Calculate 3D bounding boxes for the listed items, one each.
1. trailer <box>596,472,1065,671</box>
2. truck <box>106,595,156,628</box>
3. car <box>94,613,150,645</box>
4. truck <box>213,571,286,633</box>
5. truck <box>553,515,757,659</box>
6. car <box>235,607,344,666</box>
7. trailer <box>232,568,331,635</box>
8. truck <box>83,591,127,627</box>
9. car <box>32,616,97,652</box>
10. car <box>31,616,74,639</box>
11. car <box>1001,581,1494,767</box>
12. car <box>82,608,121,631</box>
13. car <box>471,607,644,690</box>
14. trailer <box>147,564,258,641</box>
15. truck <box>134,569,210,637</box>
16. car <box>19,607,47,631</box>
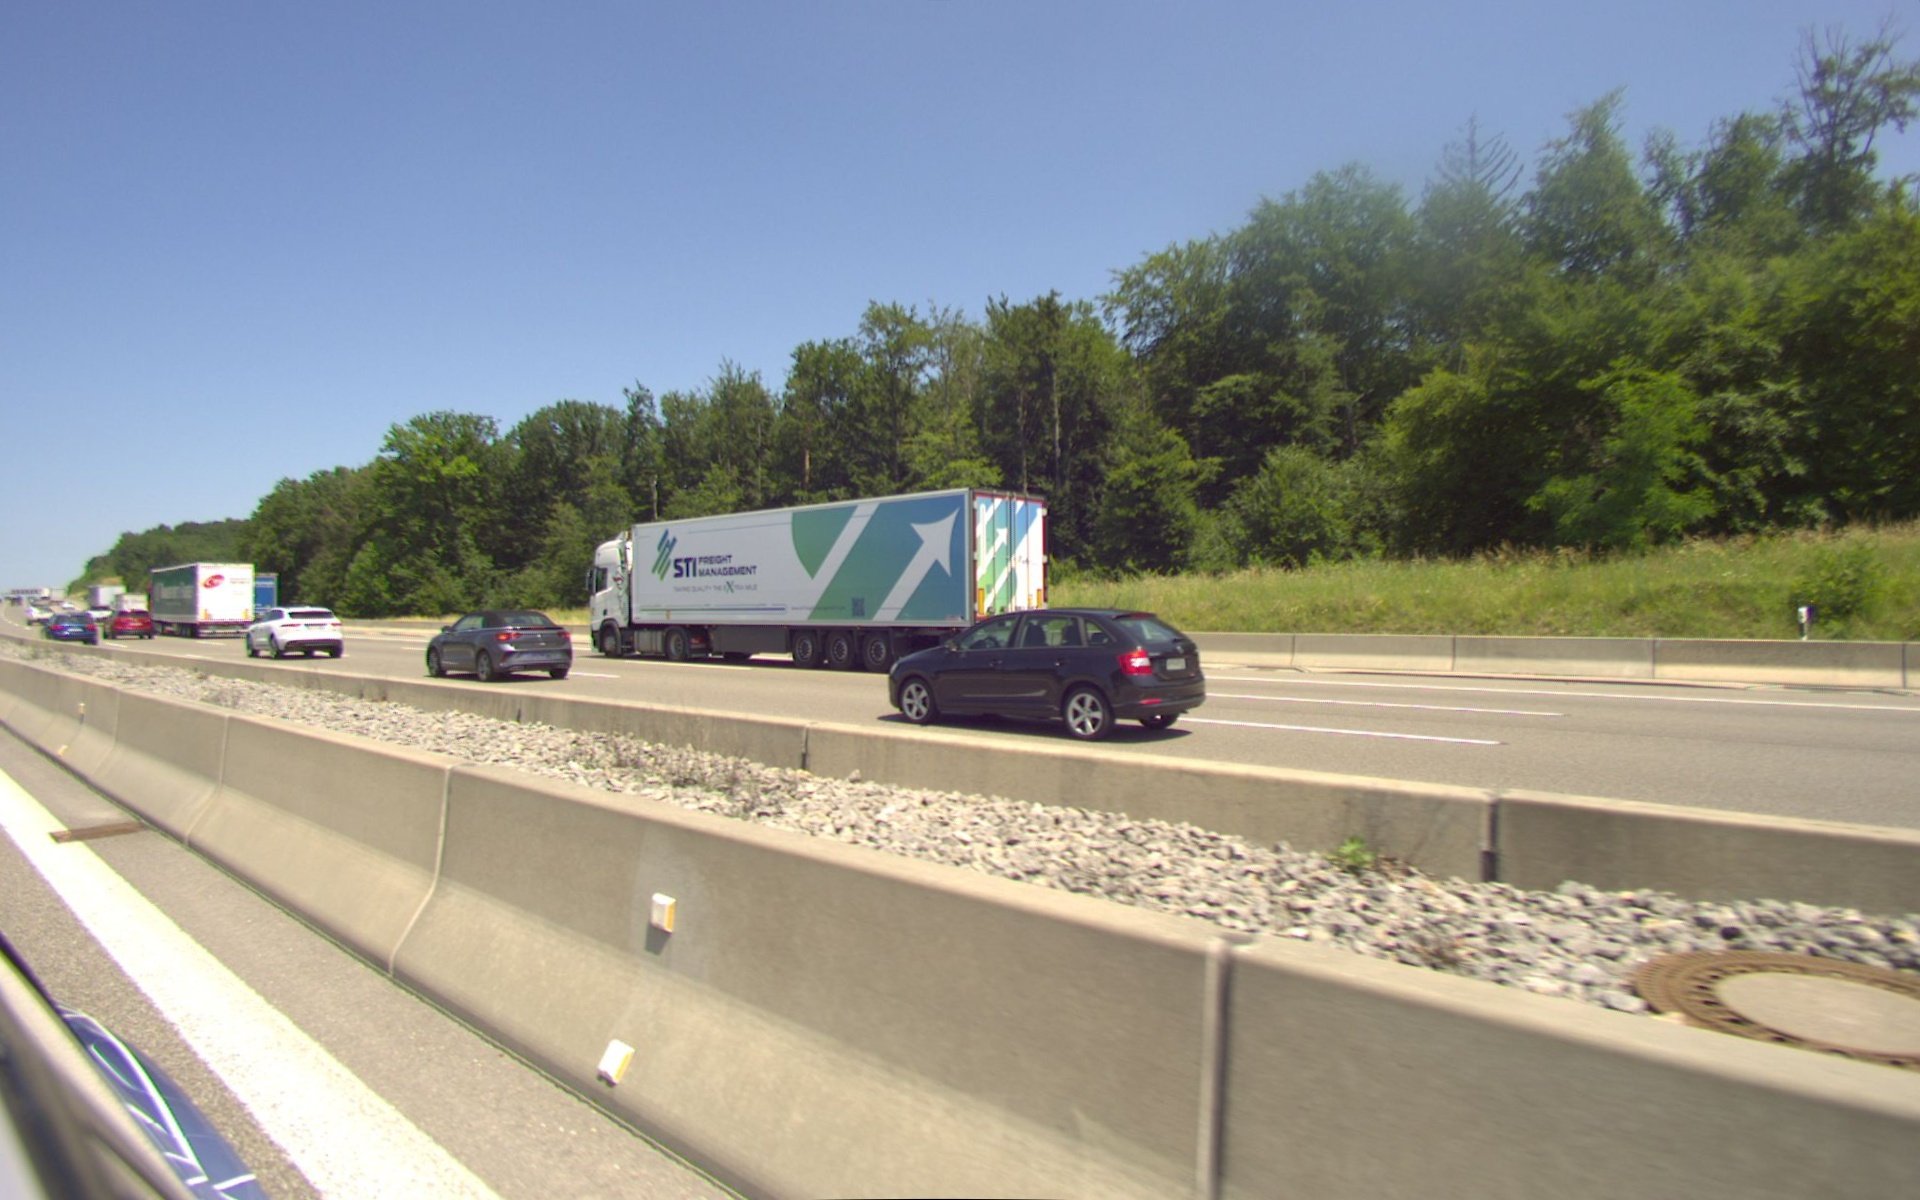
[{"bbox_3d":[-4.363,-0.464,26.982,15.281,4.068,3.195,-1,-1,42],"label":"trailer"},{"bbox_3d":[-86.597,1.208,105.672,10.097,3.330,2.728,-1,-1,43],"label":"truck"},{"bbox_3d":[-46.170,1.589,55.752,4.543,1.652,1.778,-1,-1,43],"label":"car"},{"bbox_3d":[-48.980,0.183,69.709,6.936,4.044,2.692,-1,-1,42],"label":"truck"},{"bbox_3d":[-9.640,-0.365,31.681,6.413,4.033,3.186,-1,0,42],"label":"truck"},{"bbox_3d":[-22.170,1.141,33.396,4.890,1.816,1.799,-1,0,41],"label":"car"},{"bbox_3d":[-43.524,0.119,64.749,10.761,3.953,2.694,-1,0,42],"label":"trailer"},{"bbox_3d":[-104.809,1.056,124.012,9.345,4.241,2.911,-1,0,42],"label":"truck"},{"bbox_3d":[-40.647,1.503,45.903,4.825,1.530,1.731,-1,-1,42],"label":"car"},{"bbox_3d":[-65.989,1.983,73.555,5.259,1.564,1.789,-1,0,42],"label":"car"},{"bbox_3d":[2.843,0.623,10.716,4.697,1.555,1.816,-1,0,40],"label":"car"},{"bbox_3d":[-79.691,1.793,93.908,5.024,1.980,2.054,-1,0,42],"label":"car"},{"bbox_3d":[-8.226,0.922,20.524,4.001,1.527,1.794,-1,-1,44],"label":"car"},{"bbox_3d":[-44.477,0.161,59.216,12.151,4.131,2.905,-1,0,42],"label":"trailer"},{"bbox_3d":[-50.153,0.194,64.363,5.615,4.134,2.893,-1,0,42],"label":"truck"},{"bbox_3d":[-86.920,1.775,94.858,1.835,2.209,4.069,-1,0,-44],"label":"car"}]
